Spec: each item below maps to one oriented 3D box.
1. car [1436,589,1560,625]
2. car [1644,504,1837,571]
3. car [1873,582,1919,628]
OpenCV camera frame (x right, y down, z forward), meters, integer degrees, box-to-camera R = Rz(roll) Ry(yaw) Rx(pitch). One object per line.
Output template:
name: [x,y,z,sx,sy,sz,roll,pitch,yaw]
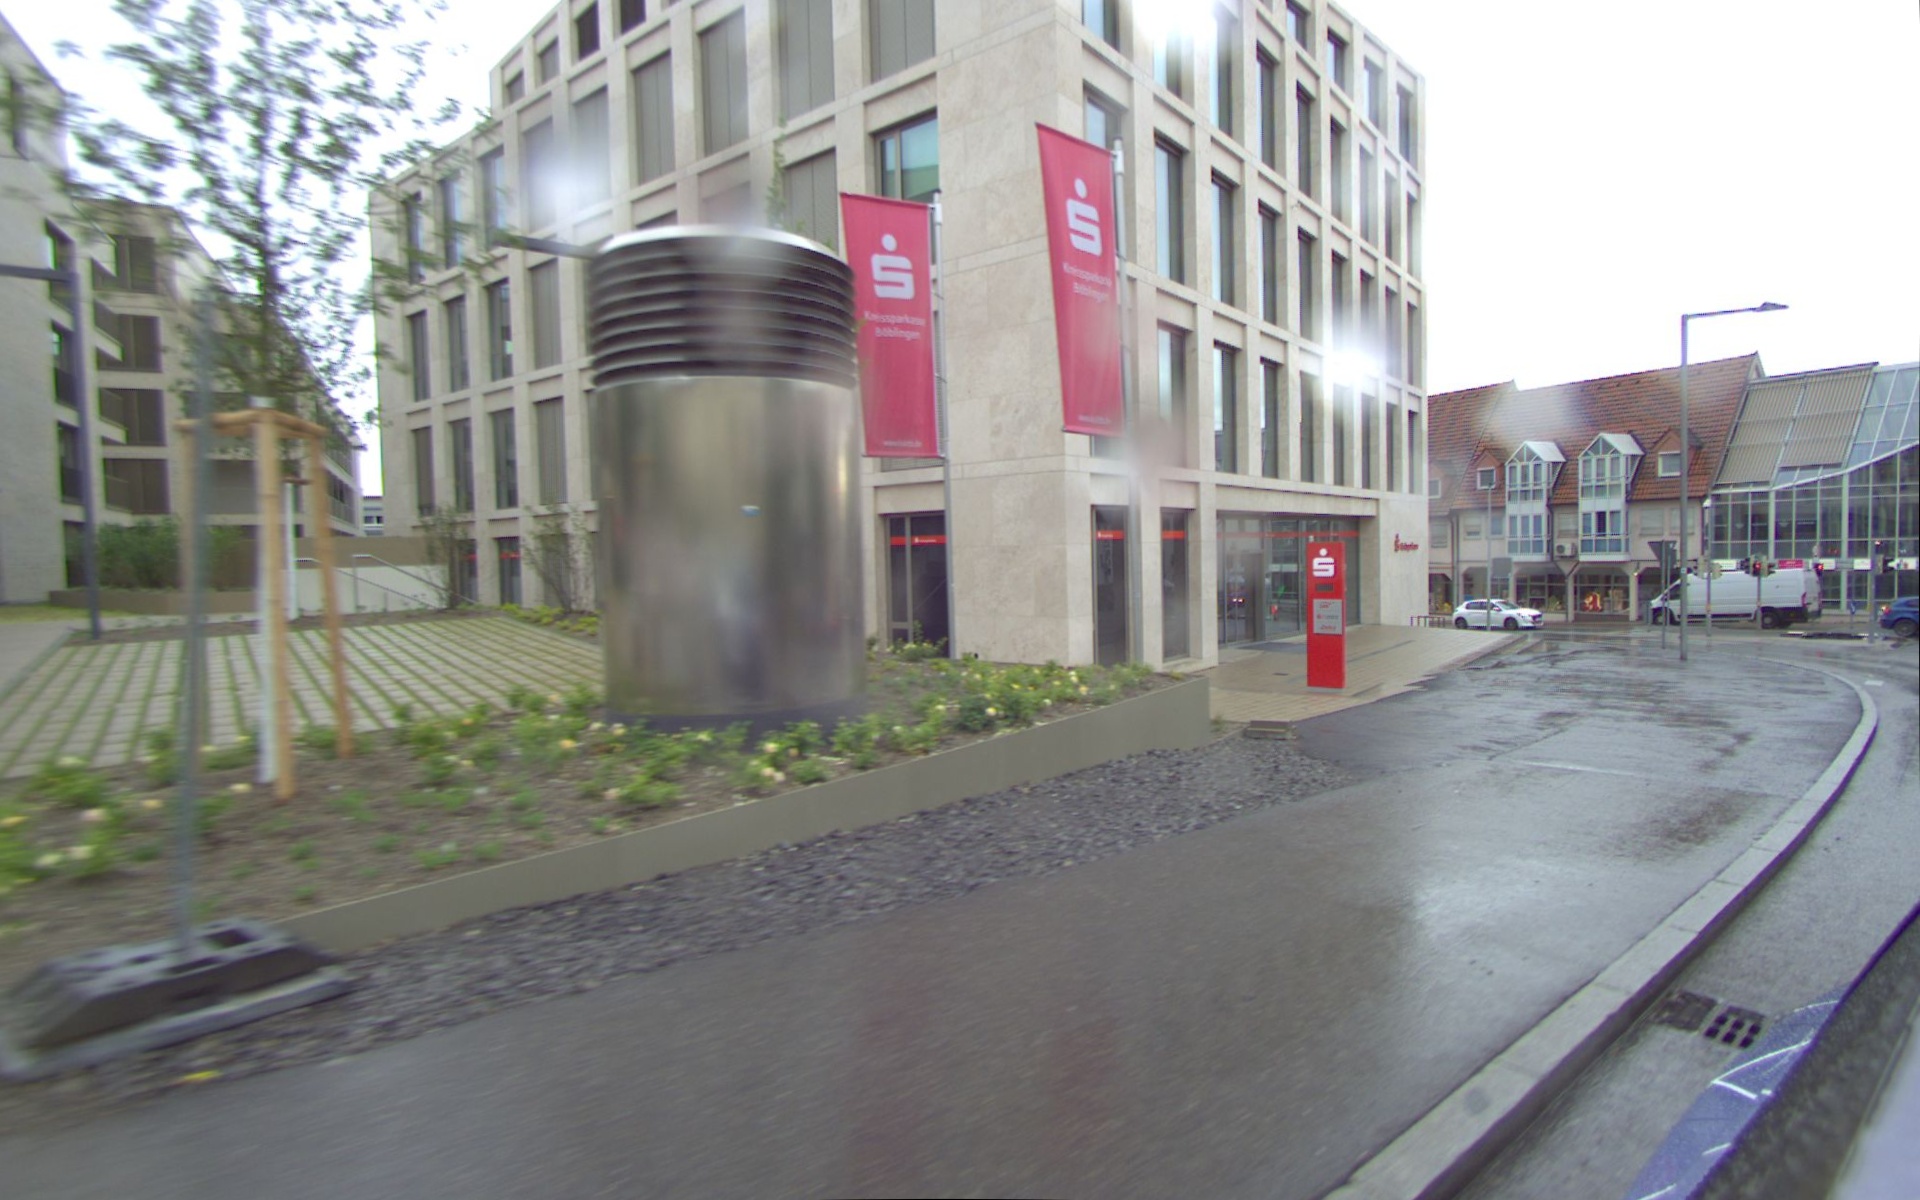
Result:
car: [25.814,0.294,48.749,1.960,1.565,5.039,0,1,-29]
car: [34.513,-2.686,45.008,1.962,2.722,6.516,0,1,-34]
car: [34.829,0.212,34.604,1.961,1.565,5.036,0,1,-33]
